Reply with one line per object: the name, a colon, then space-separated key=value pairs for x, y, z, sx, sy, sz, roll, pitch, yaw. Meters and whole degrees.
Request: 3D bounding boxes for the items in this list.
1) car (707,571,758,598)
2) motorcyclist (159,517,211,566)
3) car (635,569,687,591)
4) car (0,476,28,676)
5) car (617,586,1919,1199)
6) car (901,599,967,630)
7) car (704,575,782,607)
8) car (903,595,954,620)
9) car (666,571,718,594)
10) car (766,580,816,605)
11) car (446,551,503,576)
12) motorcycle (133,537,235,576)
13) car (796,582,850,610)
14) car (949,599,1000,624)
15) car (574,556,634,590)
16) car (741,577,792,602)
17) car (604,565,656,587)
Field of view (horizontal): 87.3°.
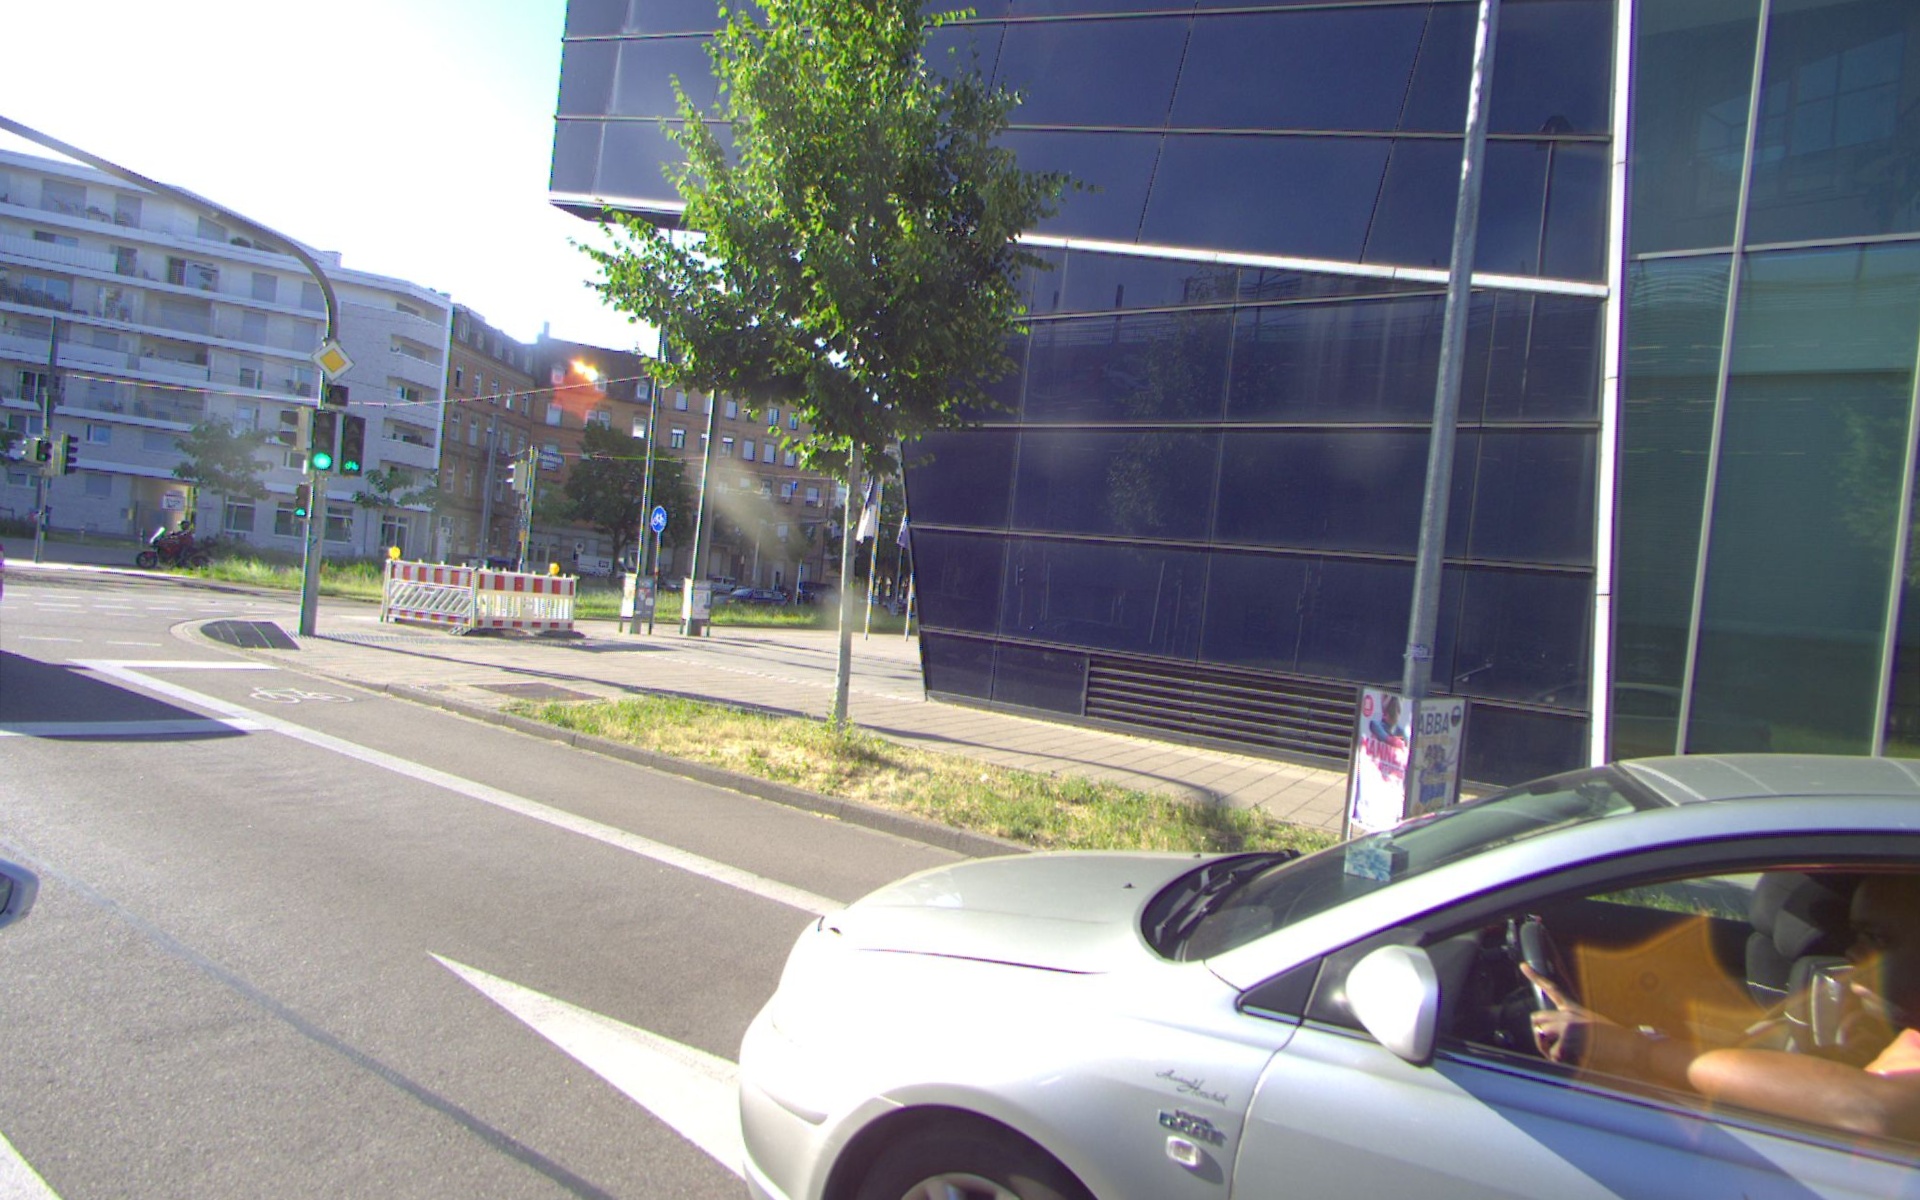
car: x=-18.246 y=-1.222 z=80.647 sx=3.944 sy=1.794 sz=1.990 roll=5 pitch=1 yaw=41
motorcyclist: x=-26.461 y=-1.997 z=34.351 sx=1.152 sy=1.500 sz=0.926 roll=6 pitch=1 yaw=29
car: x=-23.203 y=-1.541 z=78.032 sx=3.944 sy=1.371 sz=1.990 roll=5 pitch=0 yaw=41
car: x=-10.444 y=-0.456 z=9.102 sx=4.190 sy=1.715 sz=1.749 roll=6 pitch=-2 yaw=31
car: x=1.715 y=0.964 z=1.716 sx=4.550 sy=1.500 sz=1.748 roll=6 pitch=0 yaw=30
car: x=-1.701 y=0.981 z=66.546 sx=1.974 sy=1.638 sz=4.077 roll=6 pitch=0 yaw=44
car: x=-11.694 y=-0.474 z=54.469 sx=1.740 sy=1.417 sz=4.248 roll=2 pitch=-2 yaw=29
car: x=-2.742 y=0.620 z=87.239 sx=3.934 sy=1.794 sz=1.995 roll=5 pitch=1 yaw=31
car: x=-21.110 y=-1.373 z=79.272 sx=3.944 sy=1.505 sz=1.990 roll=5 pitch=0 yaw=41
car: x=-14.532 y=-0.650 z=86.413 sx=3.940 sy=1.794 sz=1.992 roll=5 pitch=1 yaw=37
car: x=-35.362 y=-2.630 z=73.427 sx=1.962 sy=1.505 sz=4.000 roll=5 pitch=0 yaw=3
motorcycle: x=-26.490 y=-1.471 z=34.403 sx=1.152 sy=1.013 sz=2.456 roll=6 pitch=0 yaw=29
car: x=-12.608 y=-0.359 z=92.508 sx=4.351 sy=2.217 sz=1.989 roll=5 pitch=1 yaw=-23
car: x=1.280 y=0.995 z=88.660 sx=3.934 sy=1.794 sz=1.995 roll=5 pitch=1 yaw=31
car: x=-29.897 y=-2.291 z=84.552 sx=4.537 sy=2.339 sz=1.991 roll=6 pitch=0 yaw=-20
car: x=-16.123 y=-0.879 z=83.767 sx=3.941 sy=1.794 sz=1.991 roll=5 pitch=1 yaw=38
car: x=-25.151 y=-1.845 z=76.602 sx=3.944 sy=1.371 sz=1.990 roll=5 pitch=0 yaw=41
